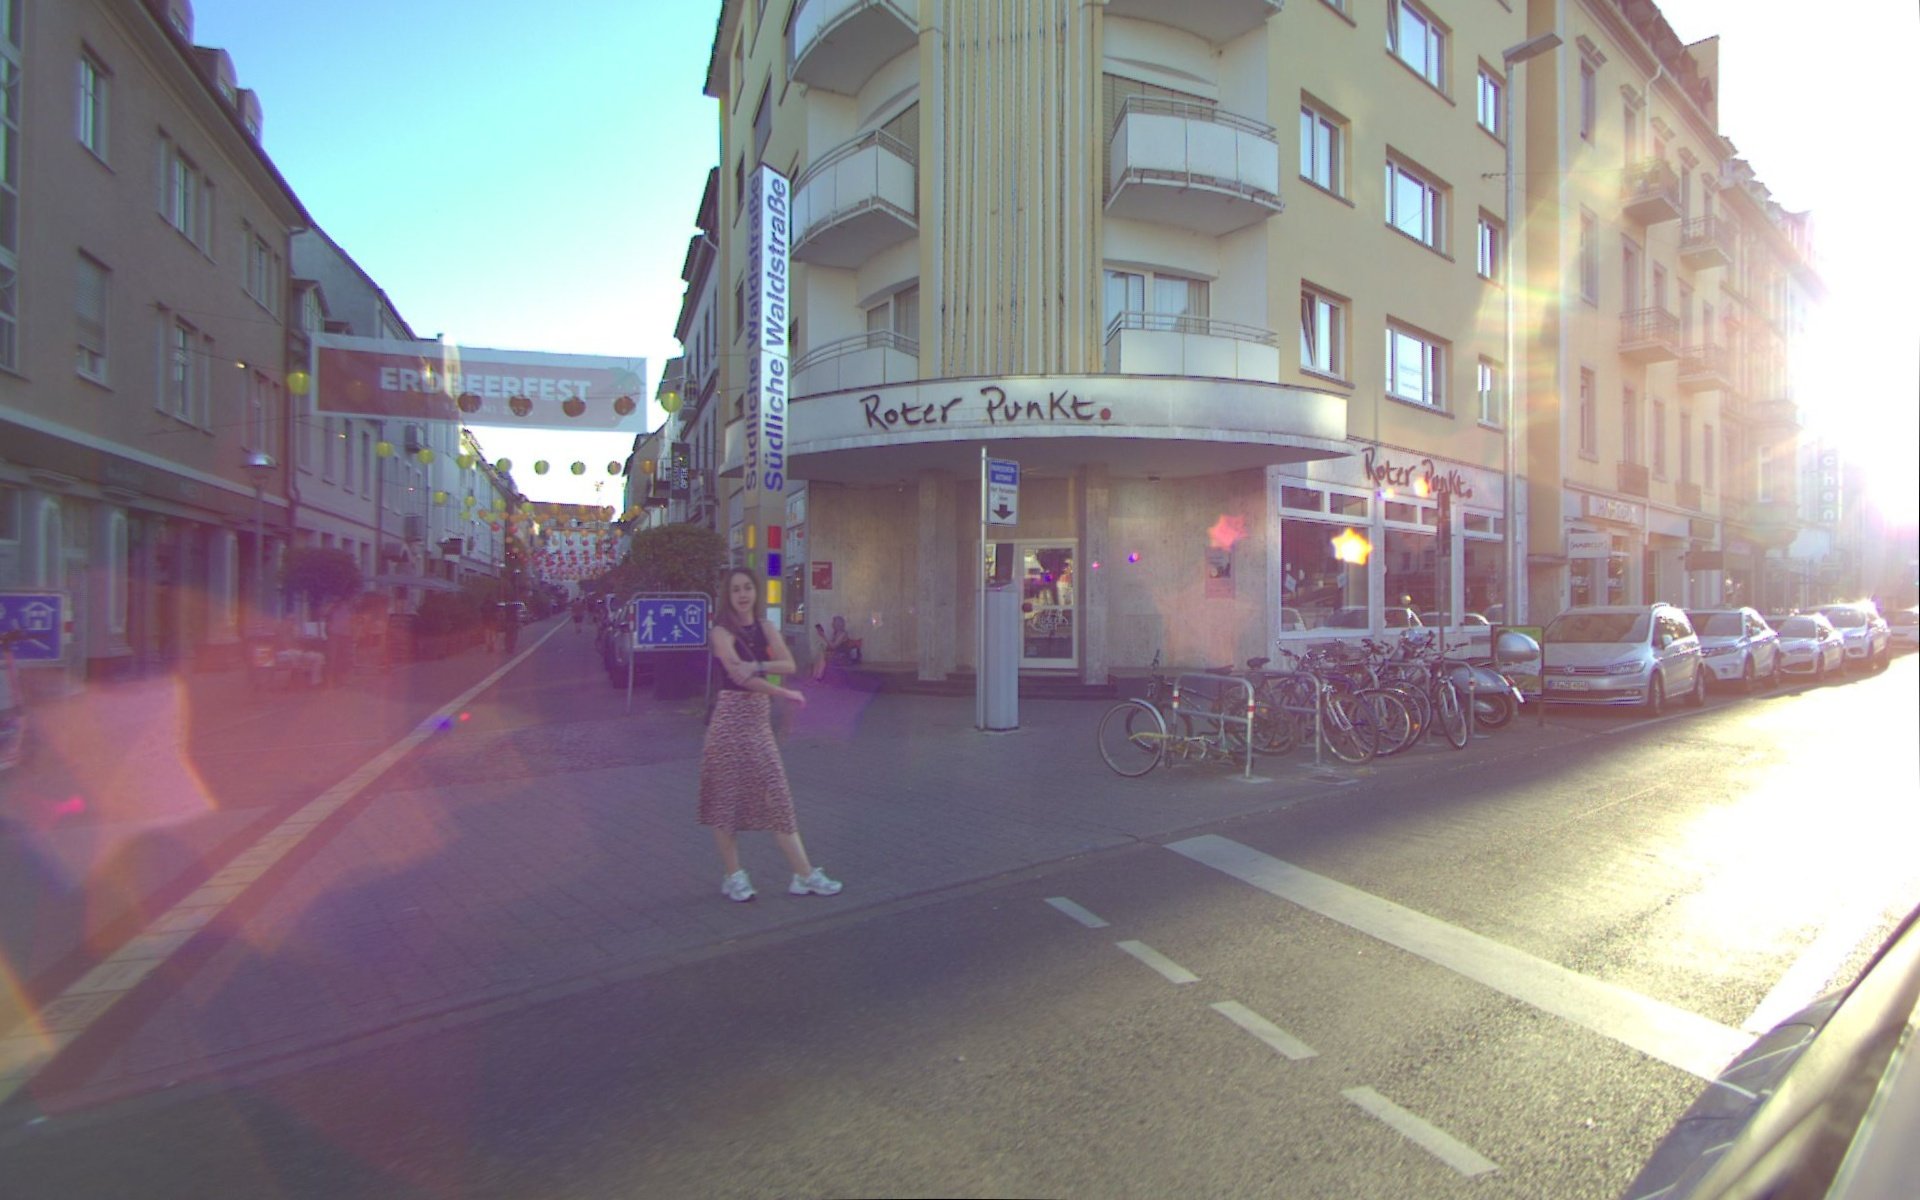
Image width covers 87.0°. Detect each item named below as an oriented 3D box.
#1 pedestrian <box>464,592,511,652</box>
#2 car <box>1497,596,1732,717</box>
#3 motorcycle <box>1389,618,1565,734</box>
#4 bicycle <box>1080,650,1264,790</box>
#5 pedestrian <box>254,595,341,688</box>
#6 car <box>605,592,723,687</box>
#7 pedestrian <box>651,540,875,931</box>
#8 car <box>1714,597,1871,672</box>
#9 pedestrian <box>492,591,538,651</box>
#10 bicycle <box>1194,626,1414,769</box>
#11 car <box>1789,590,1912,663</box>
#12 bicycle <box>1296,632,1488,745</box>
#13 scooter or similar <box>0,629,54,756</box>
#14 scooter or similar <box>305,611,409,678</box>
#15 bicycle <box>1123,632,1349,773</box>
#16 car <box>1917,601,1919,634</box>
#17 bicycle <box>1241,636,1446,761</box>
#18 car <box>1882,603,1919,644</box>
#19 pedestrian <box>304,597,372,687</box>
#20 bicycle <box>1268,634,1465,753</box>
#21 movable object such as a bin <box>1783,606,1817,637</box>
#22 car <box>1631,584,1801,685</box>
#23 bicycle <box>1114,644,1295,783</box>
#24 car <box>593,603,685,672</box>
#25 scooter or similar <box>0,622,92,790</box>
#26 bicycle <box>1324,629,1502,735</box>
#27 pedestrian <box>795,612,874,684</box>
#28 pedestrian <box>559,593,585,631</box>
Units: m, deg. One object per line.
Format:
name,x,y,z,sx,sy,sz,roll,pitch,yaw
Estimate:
pedestrian,-14.504,0.654,31.099,1.118,1.785,1.161,0,-1,-16
car,10.408,0.766,15.937,4.722,1.633,1.996,0,-1,-43
motorcycle,6.353,0.885,12.508,0.704,1.279,1.814,1,0,-43
bicycle,1.746,0.957,8.516,0.504,1.028,1.501,1,-1,-43
pedestrian,-11.382,0.692,17.428,1.025,1.544,0.989,0,-1,-18
car,-5.696,0.682,19.163,1.887,1.589,4.008,0,-1,-20
pedestrian,-0.988,0.609,5.087,0.794,1.743,0.799,-1,-2,42
car,19.308,0.787,23.392,4.783,1.563,2.019,2,-2,-41
pedestrian,-13.373,0.619,30.431,1.118,1.785,1.193,0,-1,-16
bicycle,3.233,0.866,9.649,0.711,1.182,1.885,1,-1,-44
car,23.706,0.719,26.876,4.577,1.768,1.885,2,-2,-41
bicycle,4.794,0.941,11.341,0.583,1.126,1.885,-1,0,-43
scooter or similar,-9.465,0.884,9.969,0.499,1.179,1.322,0,-1,-29
scooter or similar,-12.583,0.907,21.194,1.396,1.343,1.477,0,0,-8
bicycle,2.490,0.879,9.298,0.749,1.127,1.885,1,-1,-44
car,48.285,0.891,49.392,4.601,1.555,1.996,2,-2,-43
bicycle,3.868,0.953,10.347,0.591,1.127,1.885,1,-1,-43
car,38.528,0.962,40.682,3.929,1.605,1.703,2,-1,-41
pedestrian,-11.337,0.741,18.474,0.814,1.584,1.049,0,-1,-17
bicycle,4.251,0.938,10.715,0.512,1.127,1.885,1,-1,-43
movable object such as a bin,34.281,0.868,41.289,1.374,1.202,0.867,1,-1,-41
car,15.063,0.674,20.084,4.331,1.785,1.870,2,-2,-42
bicycle,2.102,0.942,8.838,0.504,1.039,1.501,1,0,-44
car,-7.694,0.828,24.029,1.908,1.475,4.008,0,-1,-20
scooter or similar,-7.794,0.827,8.343,0.513,1.281,1.323,0,-1,-19
bicycle,5.432,0.940,12.229,0.583,1.126,1.886,1,-1,-43
pedestrian,-2.139,0.796,17.306,0.727,1.189,1.164,-1,-1,42
pedestrian,-18.580,0.555,48.490,1.118,1.785,0.754,0,-1,-16
